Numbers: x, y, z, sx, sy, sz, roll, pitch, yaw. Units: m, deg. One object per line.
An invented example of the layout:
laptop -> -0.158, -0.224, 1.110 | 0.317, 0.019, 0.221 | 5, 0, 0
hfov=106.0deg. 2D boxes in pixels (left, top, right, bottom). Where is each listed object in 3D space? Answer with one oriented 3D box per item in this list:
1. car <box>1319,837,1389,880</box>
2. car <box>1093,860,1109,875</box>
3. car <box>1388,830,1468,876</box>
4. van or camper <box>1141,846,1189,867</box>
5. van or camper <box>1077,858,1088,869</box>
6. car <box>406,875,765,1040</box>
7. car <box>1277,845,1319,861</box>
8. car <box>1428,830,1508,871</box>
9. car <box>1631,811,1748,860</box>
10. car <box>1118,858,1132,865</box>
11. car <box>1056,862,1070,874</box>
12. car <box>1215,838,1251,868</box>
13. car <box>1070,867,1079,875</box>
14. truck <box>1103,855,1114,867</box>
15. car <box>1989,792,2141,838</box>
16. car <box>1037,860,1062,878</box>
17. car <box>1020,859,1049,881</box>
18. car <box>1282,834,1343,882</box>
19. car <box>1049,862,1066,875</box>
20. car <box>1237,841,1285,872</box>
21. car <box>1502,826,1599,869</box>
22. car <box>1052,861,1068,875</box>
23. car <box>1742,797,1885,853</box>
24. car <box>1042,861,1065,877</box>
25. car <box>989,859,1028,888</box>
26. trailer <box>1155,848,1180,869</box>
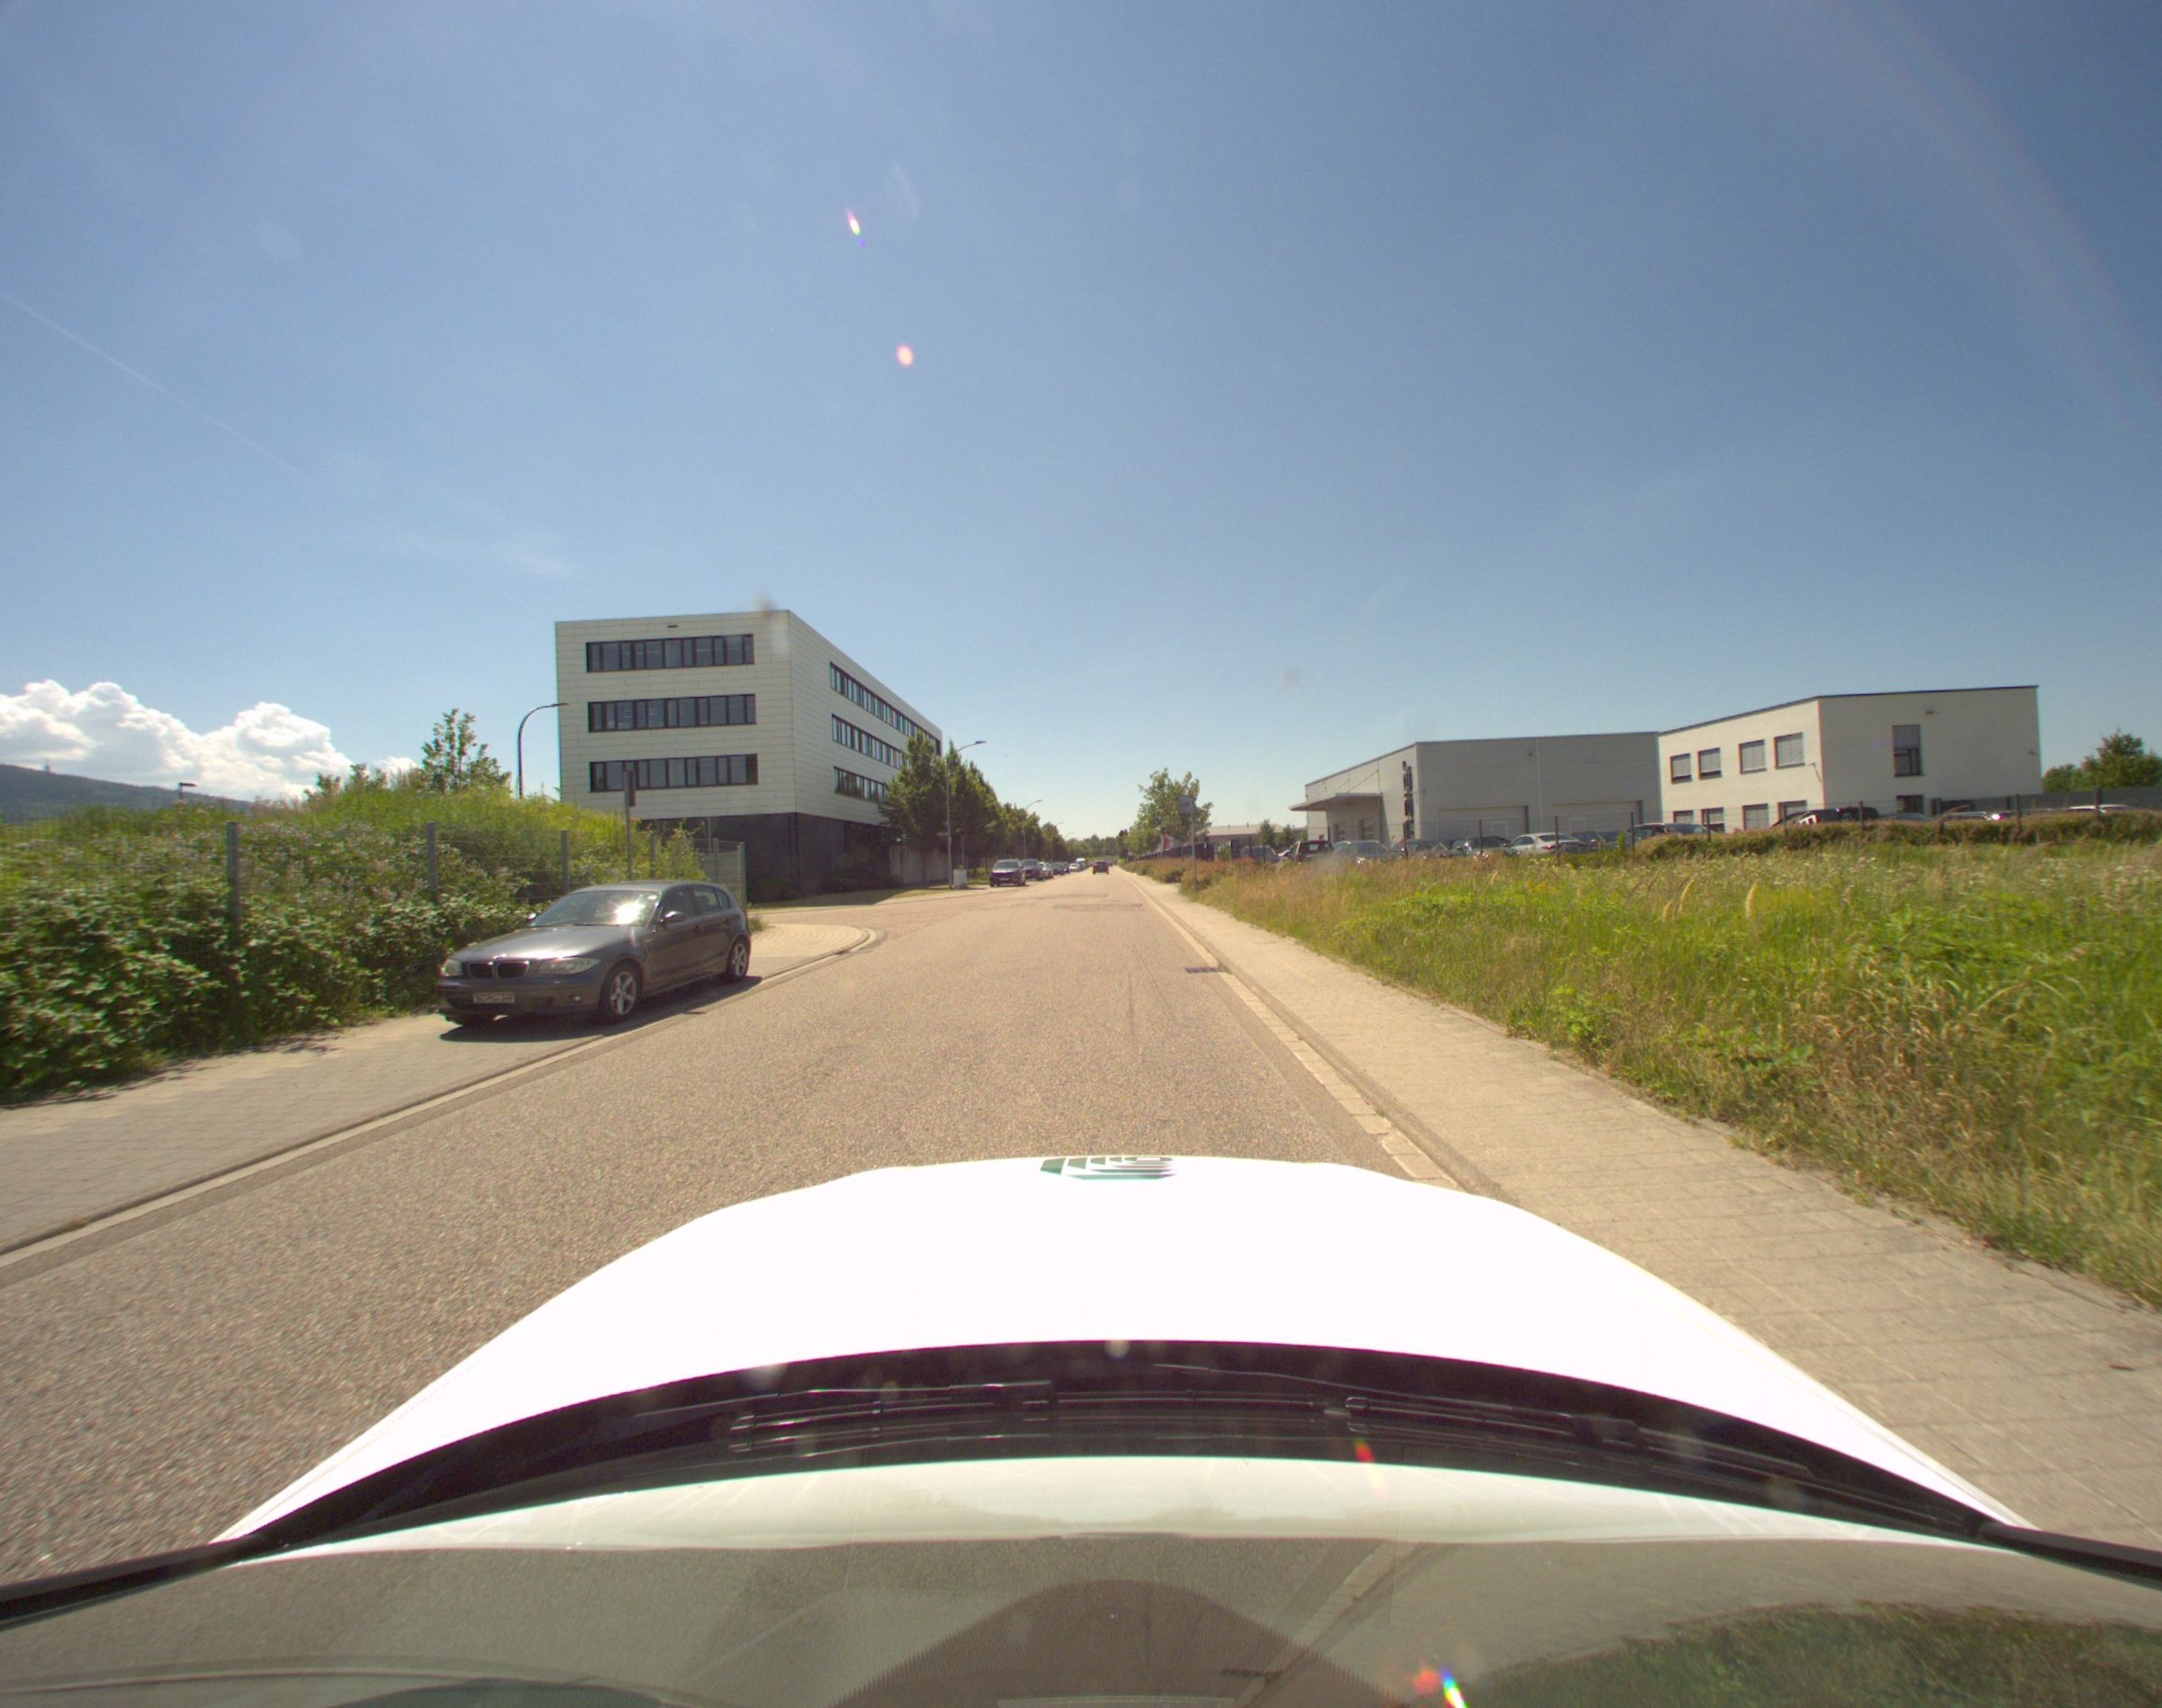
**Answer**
car -> 10.330, 0.187, 31.003 | 1.509, 1.496, 3.332 | -3, -1, 1
car -> 2.314, 1.565, 92.775 | 1.783, 1.623, 3.810 | -1, -1, 2
car -> 12.798, -0.013, 30.208 | 1.509, 1.496, 3.332 | -3, -1, 1
van or camper -> 12.361, 0.404, 119.730 | 6.734, 2.585, 2.636 | -3, -1, 0
van or camper -> 0.295, 2.112, 188.462 | 2.069, 2.483, 6.137 | -1, -1, 4
car -> -5.446, 1.019, 9.675 | 1.668, 1.450, 4.070 | -1, -1, 2
car -> 22.115, -0.120, 83.140 | 3.856, 1.403, 1.768 | -4, -1, 4
car -> 14.786, -0.106, 31.295 | 1.452, 1.412, 3.332 | -3, -1, 1
car -> 22.851, -0.649, 30.761 | 1.509, 1.633, 3.784 | -3, -1, 1
car -> 12.690, 2.148, 234.535 | 3.864, 1.750, 1.751 | -1, -1, -1
car -> -2.545, 1.940, 115.084 | 1.765, 1.611, 4.247 | -2, -1, 1
car -> 11.275, -0.061, 60.779 | 1.870, 2.087, 4.227 | -4, -1, 2
car -> -1.164, 3.052, 147.109 | 1.715, 1.476, 3.856 | -2, -1, -1
truck -> 7.481, 1.893, 219.503 | 2.921, 2.974, 6.422 | -1, -1, 2
car -> 38.546, -1.487, 32.044 | 1.521, 1.526, 3.648 | -3, -1, 1
car -> -2.633, 1.267, 68.241 | 1.764, 1.431, 4.202 | -1, -1, 2
car -> -3.438, 1.177, 61.225 | 1.764, 1.624, 4.583 | -1, -1, 2
car -> 8.357, 0.150, 29.619 | 1.461, 1.574, 2.662 | -3, -1, 2
car -> -2.727, 1.669, 96.649 | 1.764, 1.431, 4.202 | -1, -1, 2
car -> 9.850, 0.111, 44.798 | 1.803, 1.552, 3.578 | -4, 1, 2
car -> 17.212, -0.196, 30.055 | 1.509, 1.397, 3.540 | -3, -1, 1
car -> -2.593, 1.747, 102.395 | 1.765, 1.611, 4.852 | -2, -1, 1
car -> 28.083, -1.064, 31.435 | 1.742, 1.847, 4.126 | -3, -1, 1
car -> -2.438, 1.329, 72.800 | 1.764, 1.431, 3.941 | -1, -1, 2
car -> -4.335, 1.130, 49.124 | 1.764, 1.588, 4.482 | -3, -1, 2
trailer -> 11.005, 0.548, 103.470 | 2.816, 2.403, 1.418 | -4, -1, -3
